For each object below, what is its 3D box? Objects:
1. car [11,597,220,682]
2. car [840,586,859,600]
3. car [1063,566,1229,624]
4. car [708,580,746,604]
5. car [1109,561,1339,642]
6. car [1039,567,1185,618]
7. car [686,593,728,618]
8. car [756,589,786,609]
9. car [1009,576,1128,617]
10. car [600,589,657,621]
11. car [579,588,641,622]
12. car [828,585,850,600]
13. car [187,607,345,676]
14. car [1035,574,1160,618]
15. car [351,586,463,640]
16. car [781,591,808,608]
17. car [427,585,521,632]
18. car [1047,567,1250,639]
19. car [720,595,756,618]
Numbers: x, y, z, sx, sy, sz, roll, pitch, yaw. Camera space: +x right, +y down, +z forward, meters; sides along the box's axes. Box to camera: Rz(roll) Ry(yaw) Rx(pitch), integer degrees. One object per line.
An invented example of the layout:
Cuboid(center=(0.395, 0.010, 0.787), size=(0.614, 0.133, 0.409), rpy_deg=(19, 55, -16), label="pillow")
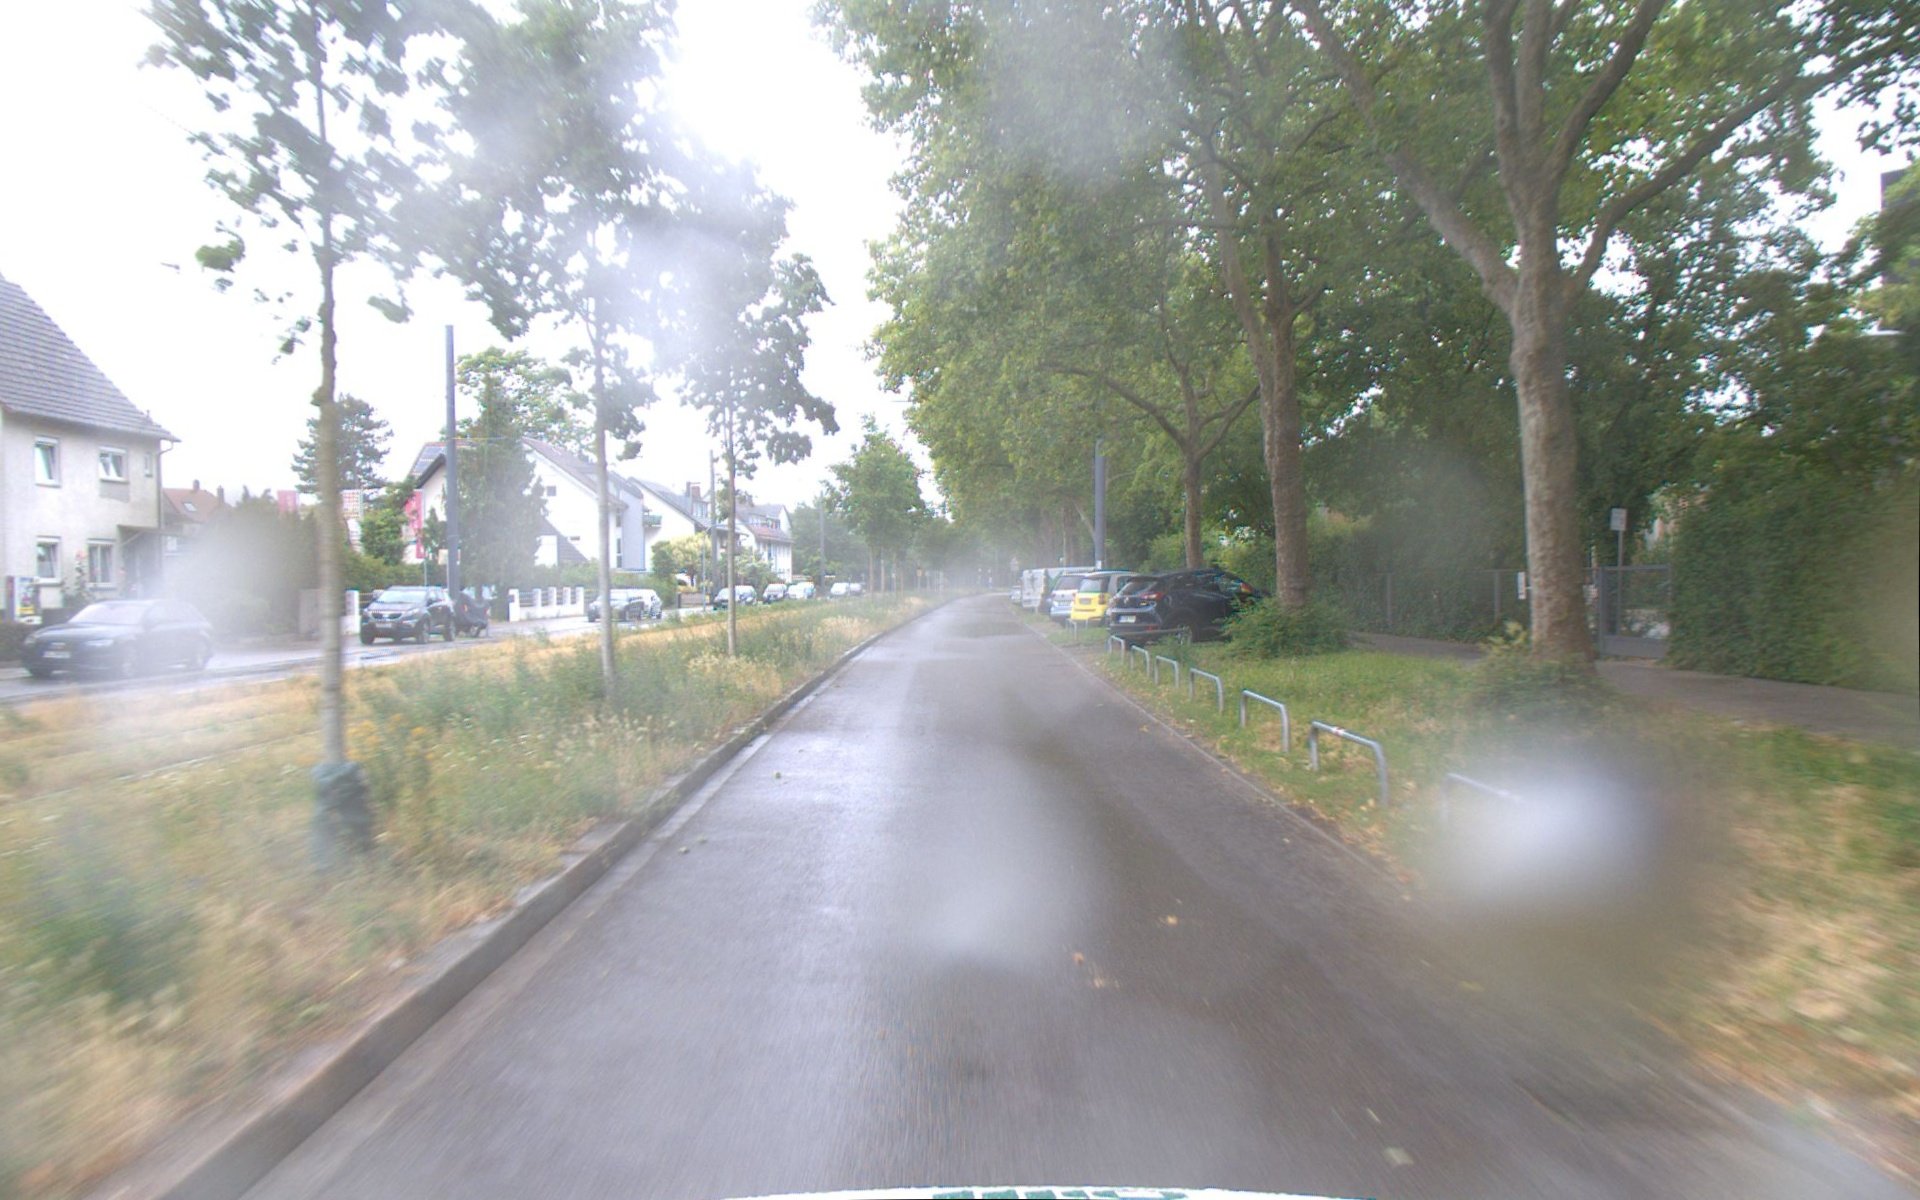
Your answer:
Cuboid(center=(-16.071, 0.724, 31.728), size=(1.888, 1.512, 4.000), rpy_deg=(0, -1, 1), label="car")
Cuboid(center=(-12.555, -0.785, 188.024), size=(1.888, 1.512, 4.000), rpy_deg=(0, -1, 1), label="car")
Cuboid(center=(4.896, -0.116, 43.714), size=(3.923, 1.478, 1.991), rpy_deg=(0, -1, -17), label="car")
Cuboid(center=(-15.457, -0.529, 109.783), size=(1.888, 1.512, 4.000), rpy_deg=(0, -1, 1), label="car")
Cuboid(center=(5.044, 0.051, 31.742), size=(3.923, 1.478, 1.991), rpy_deg=(0, -1, -17), label="car")
Cuboid(center=(4.526, -0.201, 49.450), size=(3.923, 1.478, 1.991), rpy_deg=(0, -1, -17), label="car")
Cuboid(center=(-15.644, 0.350, 102.324), size=(1.888, 1.512, 4.000), rpy_deg=(0, -1, 1), label="car")
Cuboid(center=(-15.096, -0.074, 132.095), size=(1.888, 1.512, 4.000), rpy_deg=(0, -1, 1), label="car")
Cuboid(center=(3.972, -0.106, 60.685), size=(3.923, 1.478, 1.991), rpy_deg=(0, -1, -17), label="car")
Cuboid(center=(-16.044, 0.271, 80.166), size=(1.888, 1.512, 4.000), rpy_deg=(0, -1, 1), label="car")
Cuboid(center=(-15.843, 0.228, 75.090), size=(1.888, 1.512, 4.000), rpy_deg=(0, -1, 1), label="car")
Cuboid(center=(-12.737, -0.805, 174.045), size=(1.888, 1.512, 4.000), rpy_deg=(0, -1, 1), label="car")
Cuboid(center=(-15.951, 0.918, 38.233), size=(1.888, 1.512, 4.000), rpy_deg=(0, -1, 1), label="car")
Cuboid(center=(4.797, -0.130, 57.818), size=(3.923, 1.478, 1.991), rpy_deg=(0, -1, -17), label="car")
Cuboid(center=(-16.194, 0.393, 48.617), size=(1.888, 1.512, 4.000), rpy_deg=(0, -1, 1), label="car")
Cuboid(center=(-14.408, -0.035, 144.133), size=(1.888, 1.512, 4.000), rpy_deg=(0, -1, 1), label="car")
Cuboid(center=(-16.171, 0.292, 55.216), size=(1.888, 1.512, 4.000), rpy_deg=(0, -1, 1), label="car")
Cuboid(center=(4.039, 0.083, 35.632), size=(3.923, 1.478, 1.991), rpy_deg=(0, -1, -17), label="car")
Cuboid(center=(-15.440, 0.458, 115.001), size=(1.888, 1.512, 4.000), rpy_deg=(0, -1, 1), label="car")
